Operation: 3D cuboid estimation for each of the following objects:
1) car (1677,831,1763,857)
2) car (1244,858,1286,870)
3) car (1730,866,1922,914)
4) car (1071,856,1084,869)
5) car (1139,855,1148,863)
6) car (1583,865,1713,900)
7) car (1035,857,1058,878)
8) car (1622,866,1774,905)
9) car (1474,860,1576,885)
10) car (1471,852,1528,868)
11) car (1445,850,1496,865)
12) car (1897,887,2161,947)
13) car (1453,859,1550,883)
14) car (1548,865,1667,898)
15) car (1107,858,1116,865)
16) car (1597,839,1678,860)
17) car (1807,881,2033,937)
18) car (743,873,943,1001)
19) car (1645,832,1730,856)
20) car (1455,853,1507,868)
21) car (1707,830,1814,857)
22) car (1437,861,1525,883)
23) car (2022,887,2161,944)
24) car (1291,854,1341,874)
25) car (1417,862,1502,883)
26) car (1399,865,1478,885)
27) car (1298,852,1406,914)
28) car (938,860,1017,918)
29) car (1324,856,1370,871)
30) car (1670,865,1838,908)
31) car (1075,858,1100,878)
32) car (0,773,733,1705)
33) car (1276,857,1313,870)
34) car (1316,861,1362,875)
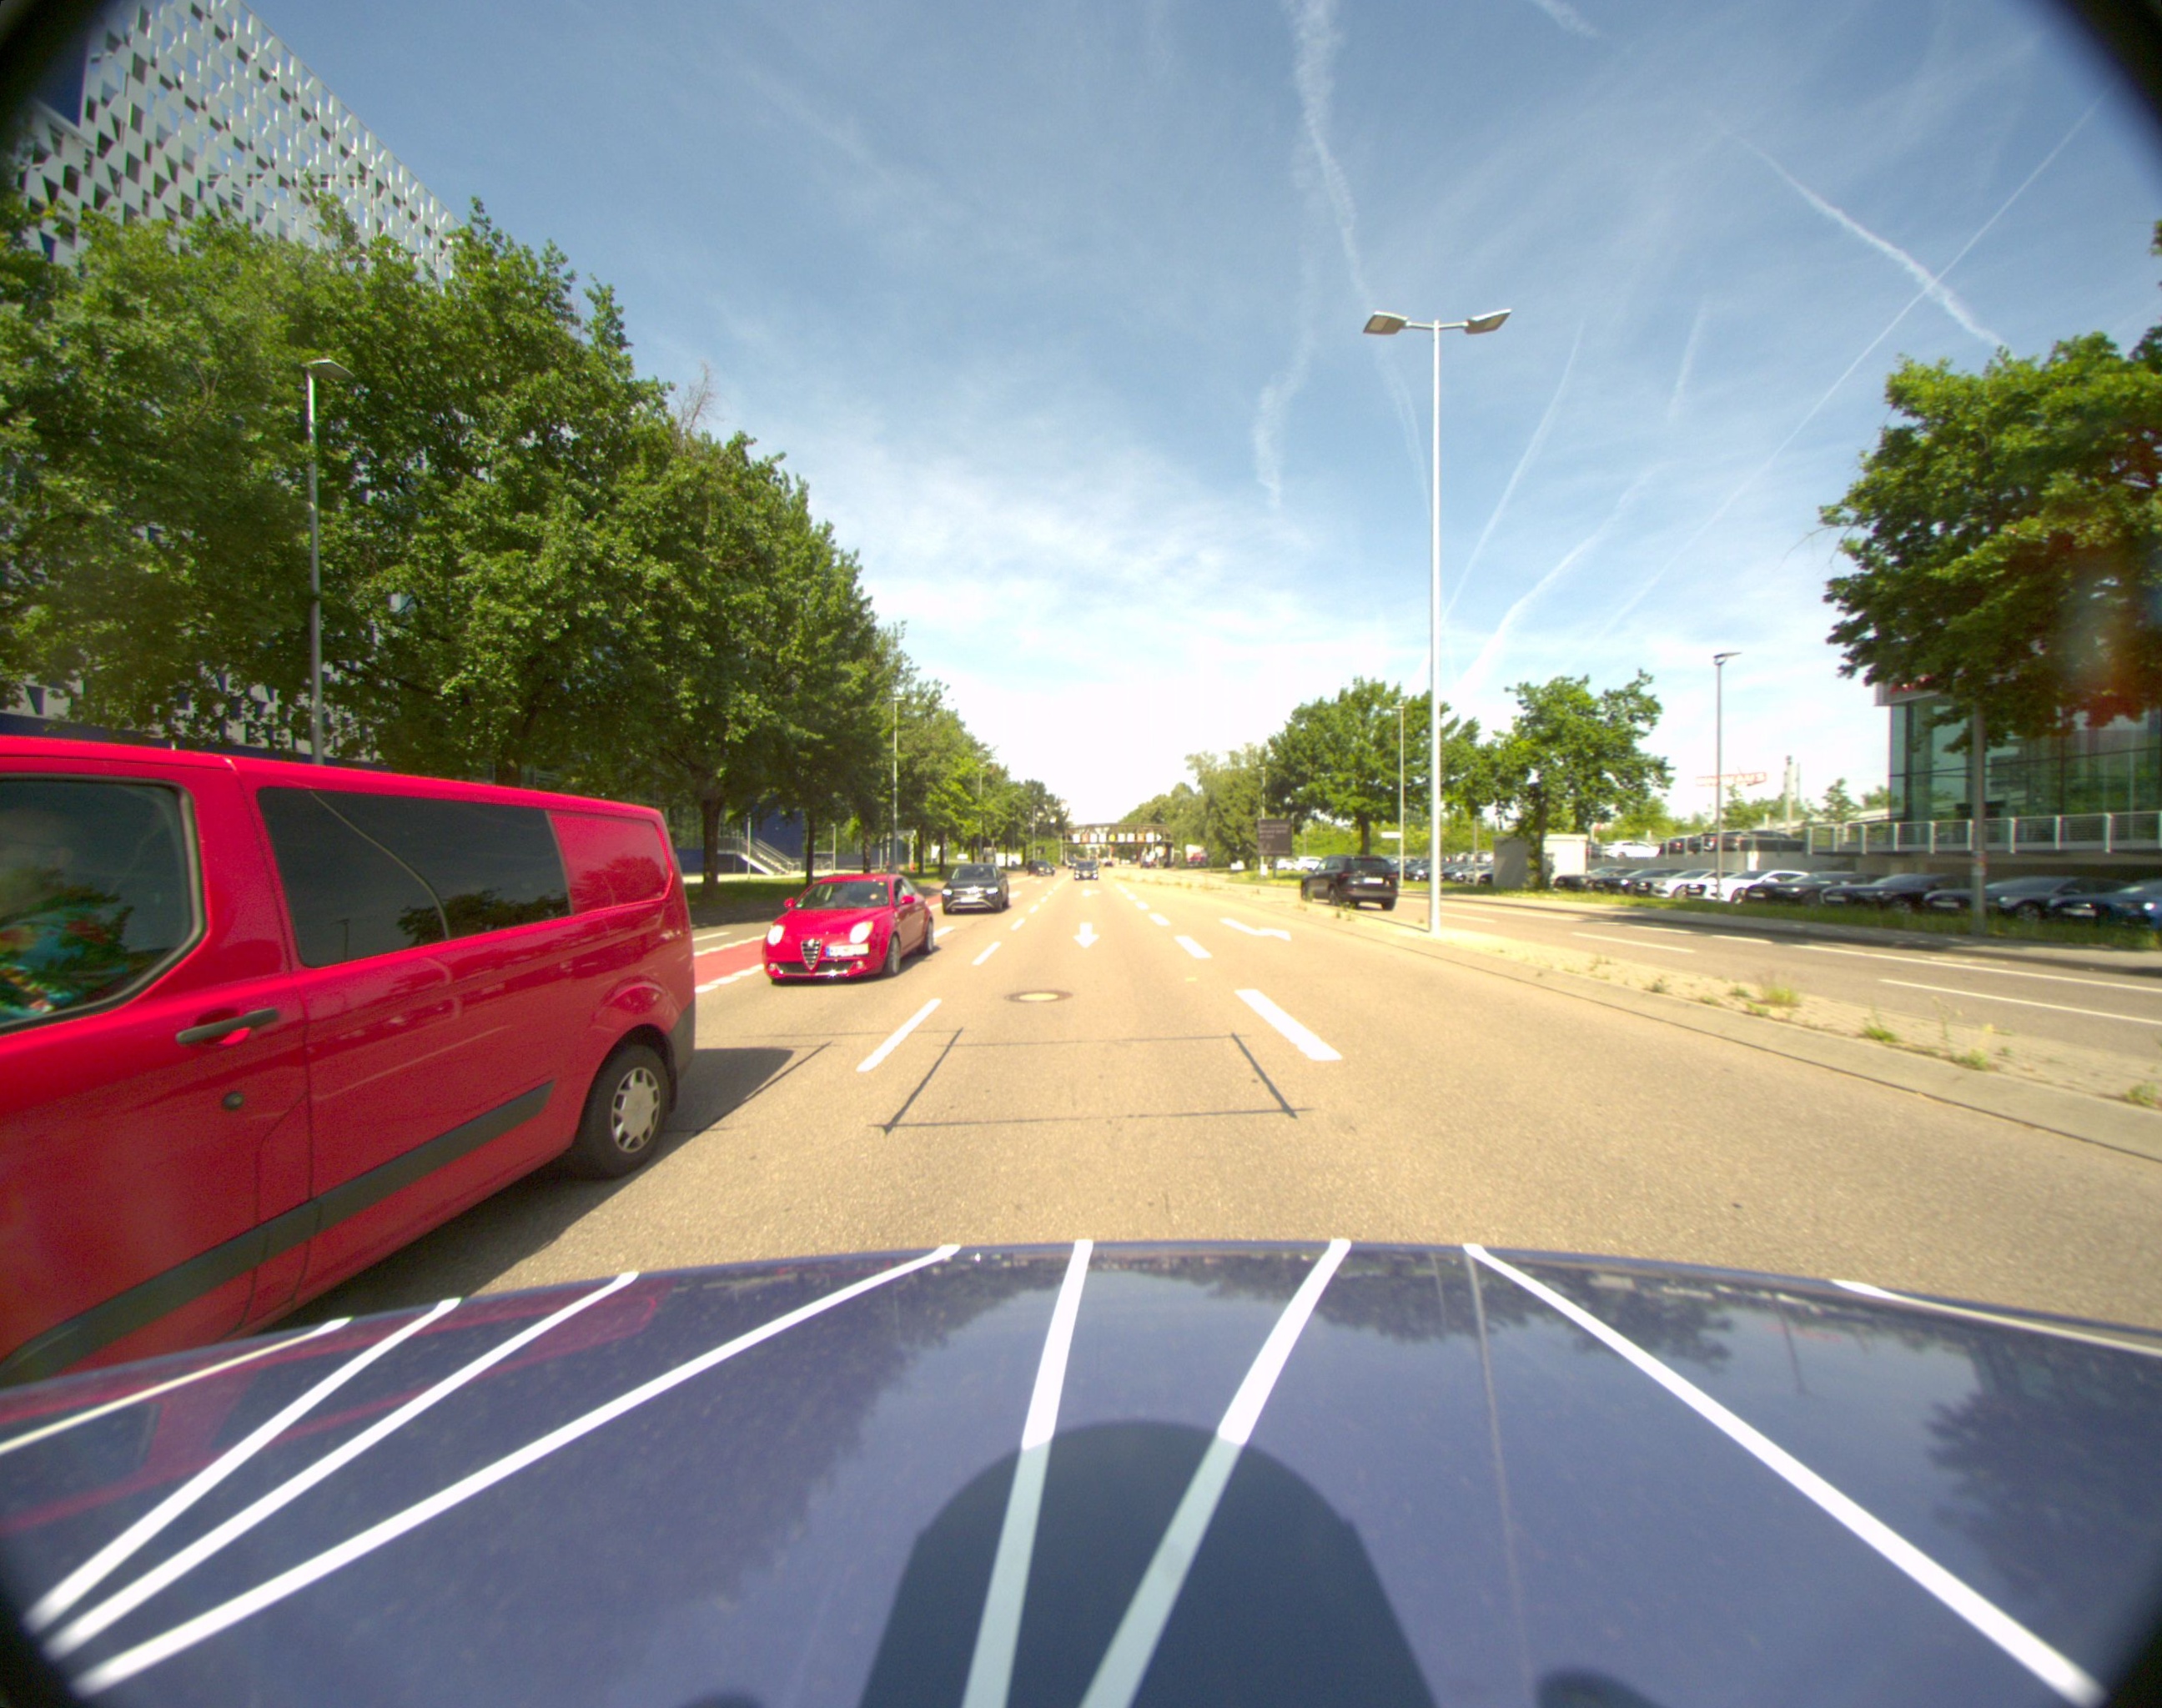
[{"bbox_3d":[39.905,-0.624,47.508,3.997,1.487,1.668,-1,0,0],"label":"car"},{"bbox_3d":[22.848,1.189,94.561,4.698,1.381,2.000,-1,0,0],"label":"car"},{"bbox_3d":[23.529,1.112,24.116,4.185,1.183,1.955,4,0,-1],"label":"car"},{"bbox_3d":[-0.556,1.363,118.734,1.998,2.002,4.000,-1,0,0],"label":"car"},{"bbox_3d":[13.417,1.127,163.532,1.998,1.608,4.105,2,0,5],"label":"car"},{"bbox_3d":[23.606,1.187,31.733,3.998,1.149,1.897,4,0,-1],"label":"car"},{"bbox_3d":[-3.405,1.342,75.498,1.998,2.002,4.000,-1,0,0],"label":"car"},{"bbox_3d":[23.717,1.189,29.328,4.185,1.149,2.087,4,0,-1],"label":"car"},{"bbox_3d":[24.255,0.983,41.626,4.511,1.282,1.919,1,0,-1],"label":"car"},{"bbox_3d":[40.354,0.570,73.335,4.511,1.410,1.890,-1,0,-1],"label":"car"},{"bbox_3d":[40.391,0.339,78.823,4.214,1.468,1.999,-1,0,-3],"label":"car"},{"bbox_3d":[23.276,1.524,18.749,4.185,1.071,1.955,4,0,-1],"label":"car"},{"bbox_3d":[24.248,0.973,43.960,4.511,1.282,2.004,1,0,-1],"label":"car"},{"bbox_3d":[23.680,1.219,34.284,3.998,1.149,1.897,4,0,-1],"label":"car"},{"bbox_3d":[6.680,1.665,167.868,1.785,1.438,4.120,1,0,1],"label":"car"},{"bbox_3d":[40.533,-0.333,55.398,4.511,1.476,1.979,1,0,-1],"label":"car"},{"bbox_3d":[23.418,1.516,21.331,4.185,1.183,1.955,4,0,-1],"label":"car"},{"bbox_3d":[-3.347,1.093,11.535,1.798,1.446,3.978,-1,1,-1],"label":"car"},{"bbox_3d":[40.000,-0.618,50.164,3.997,1.487,2.051,-1,0,0],"label":"car"},{"bbox_3d":[39.932,0.648,75.900,4.214,1.468,1.999,-1,0,-3],"label":"car"},{"bbox_3d":[39.988,-0.621,44.790,4.531,1.487,1.986,-1,0,0],"label":"car"},{"bbox_3d":[24.389,1.105,46.426,4.511,1.282,1.691,1,0,-1],"label":"car"},{"bbox_3d":[23.085,1.374,16.146,4.119,1.028,1.697,4,0,-1],"label":"car"},{"bbox_3d":[24.136,1.008,78.068,4.474,1.864,2.000,-1,0,2],"label":"car"},{"bbox_3d":[24.365,1.200,49.044,4.511,1.282,1.919,1,0,-1],"label":"car"},{"bbox_3d":[24.365,1.408,51.865,4.511,1.282,1.919,1,0,-1],"label":"car"},{"bbox_3d":[8.082,0.810,23.073,1.742,1.609,4.209,3,0,0],"label":"car"},{"bbox_3d":[-3.203,1.033,24.241,1.824,1.632,4.113,-1,0,1],"label":"car"},{"bbox_3d":[24.488,0.872,70.047,3.603,1.277,1.744,2,0,-1],"label":"car"},{"bbox_3d":[23.652,1.109,26.824,4.185,1.183,1.955,4,0,-1],"label":"car"},{"bbox_3d":[0.494,1.088,58.877,1.888,1.427,4.000,-1,0,0],"label":"car"},{"bbox_3d":[-3.264,0.826,2.323,1.972,1.956,5.125,-1,0,0],"label":"car"},{"bbox_3d":[24.072,1.035,85.838,3.689,1.363,1.816,-1,0,0],"label":"car"},{"bbox_3d":[24.643,1.350,72.660,3.801,1.277,1.744,-1,0,-1],"label":"car"}]
